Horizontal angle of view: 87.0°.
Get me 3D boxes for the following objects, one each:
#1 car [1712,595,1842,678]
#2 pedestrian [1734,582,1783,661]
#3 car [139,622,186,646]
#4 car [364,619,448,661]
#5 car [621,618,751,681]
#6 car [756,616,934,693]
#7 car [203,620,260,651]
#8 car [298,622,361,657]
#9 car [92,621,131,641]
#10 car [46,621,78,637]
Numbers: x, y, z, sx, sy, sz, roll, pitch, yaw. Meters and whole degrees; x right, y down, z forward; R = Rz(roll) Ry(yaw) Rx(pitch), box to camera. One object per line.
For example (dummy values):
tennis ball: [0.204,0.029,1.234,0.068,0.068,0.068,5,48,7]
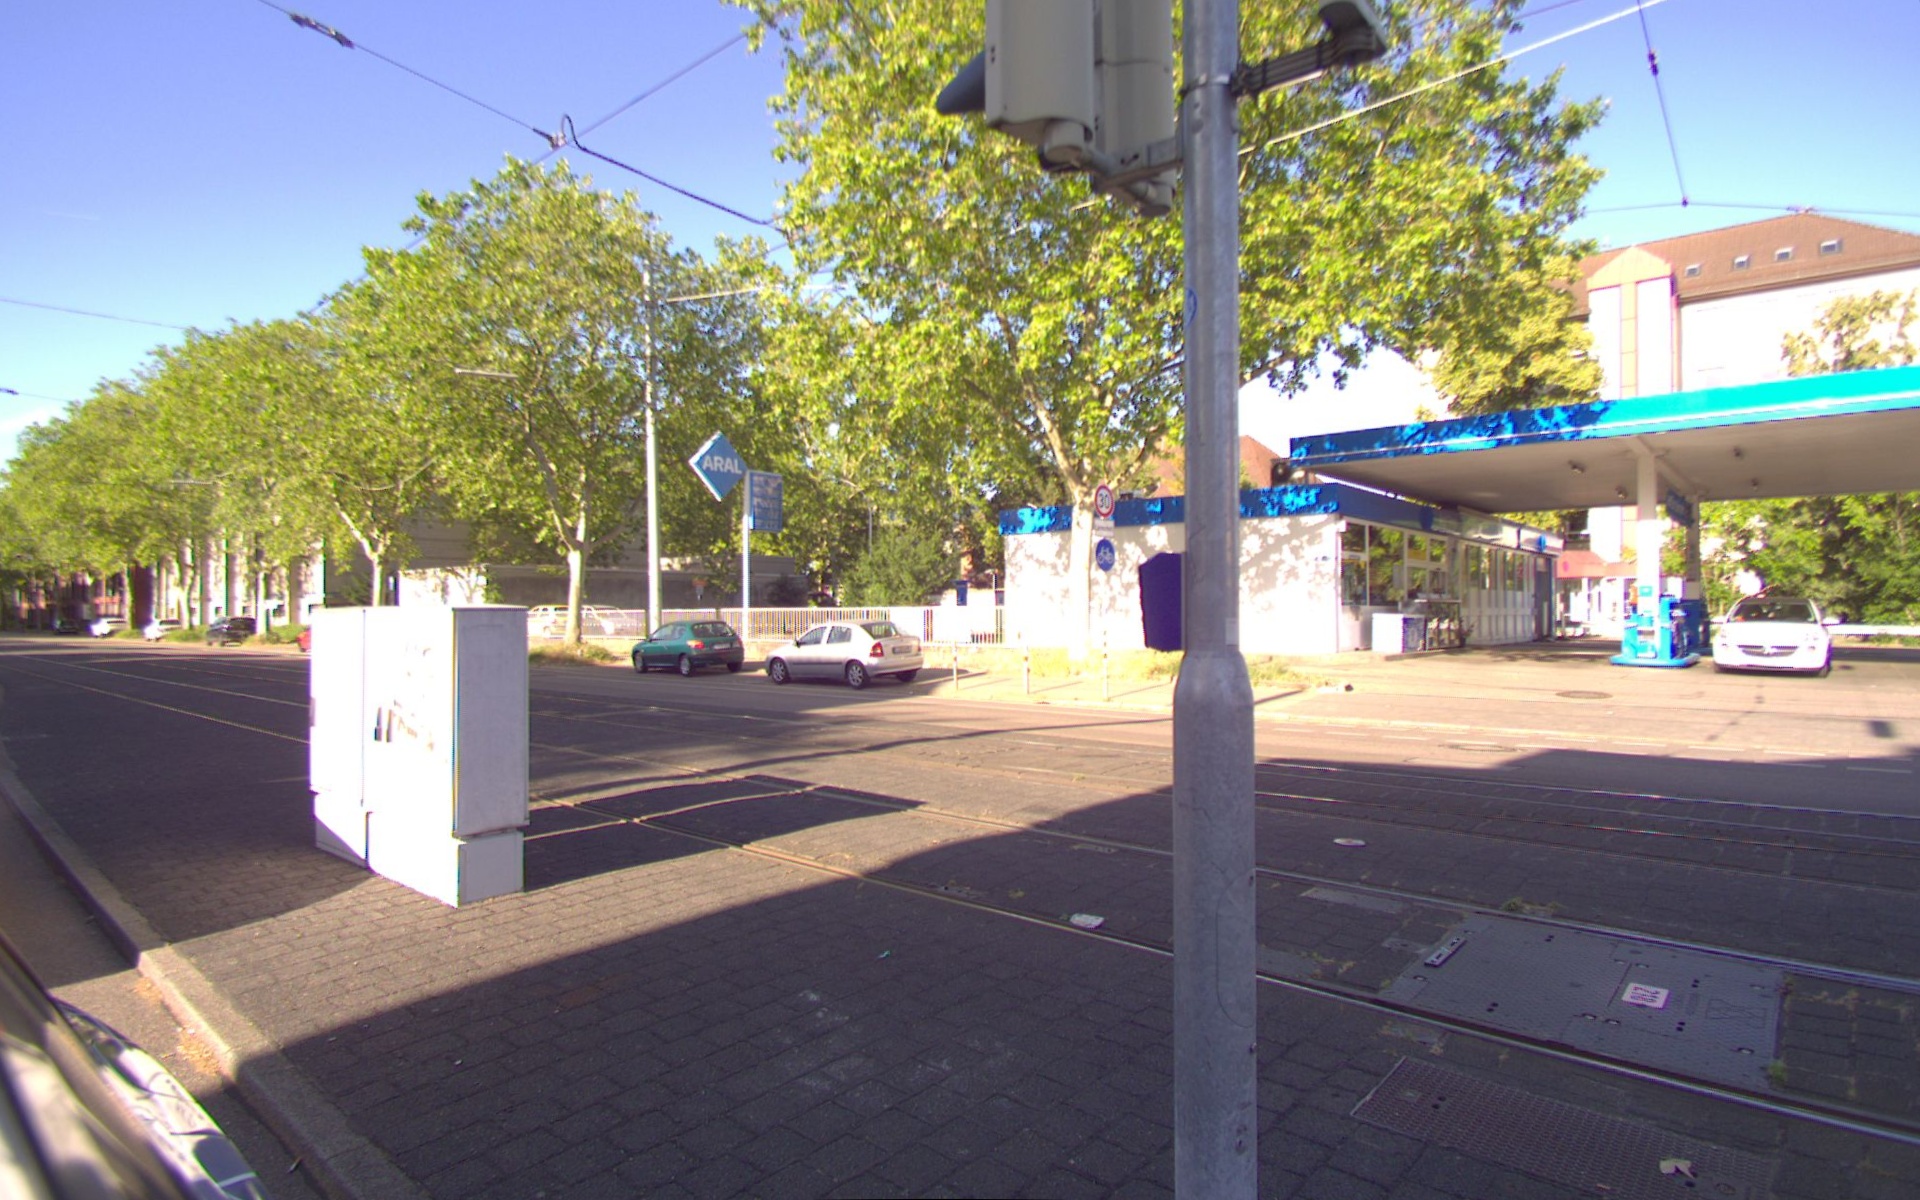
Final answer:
car: [16.024,0.674,19.908,1.812,1.453,3.947,-1,-1,39]
pedestrian: [17.542,0.470,22.228,0.761,1.705,0.578,-2,-2,44]
car: [-53.721,2.263,68.167,3.998,1.509,1.779,-1,-1,41]
car: [-21.944,1.548,40.054,3.652,1.541,1.802,-1,-1,41]
car: [-7.331,1.275,26.933,3.519,1.475,1.670,-1,2,43]
car: [-2.633,1.157,22.663,3.965,1.475,1.771,-1,2,43]
car: [-40.756,1.950,56.593,3.998,1.674,1.779,-1,-1,41]
car: [-28.557,1.749,45.801,3.045,1.519,1.620,-1,-1,41]
car: [-66.684,2.398,79.534,3.998,1.525,1.779,-1,-1,41]
car: [-85.323,2.728,96.123,3.998,1.525,1.779,-1,-1,41]
